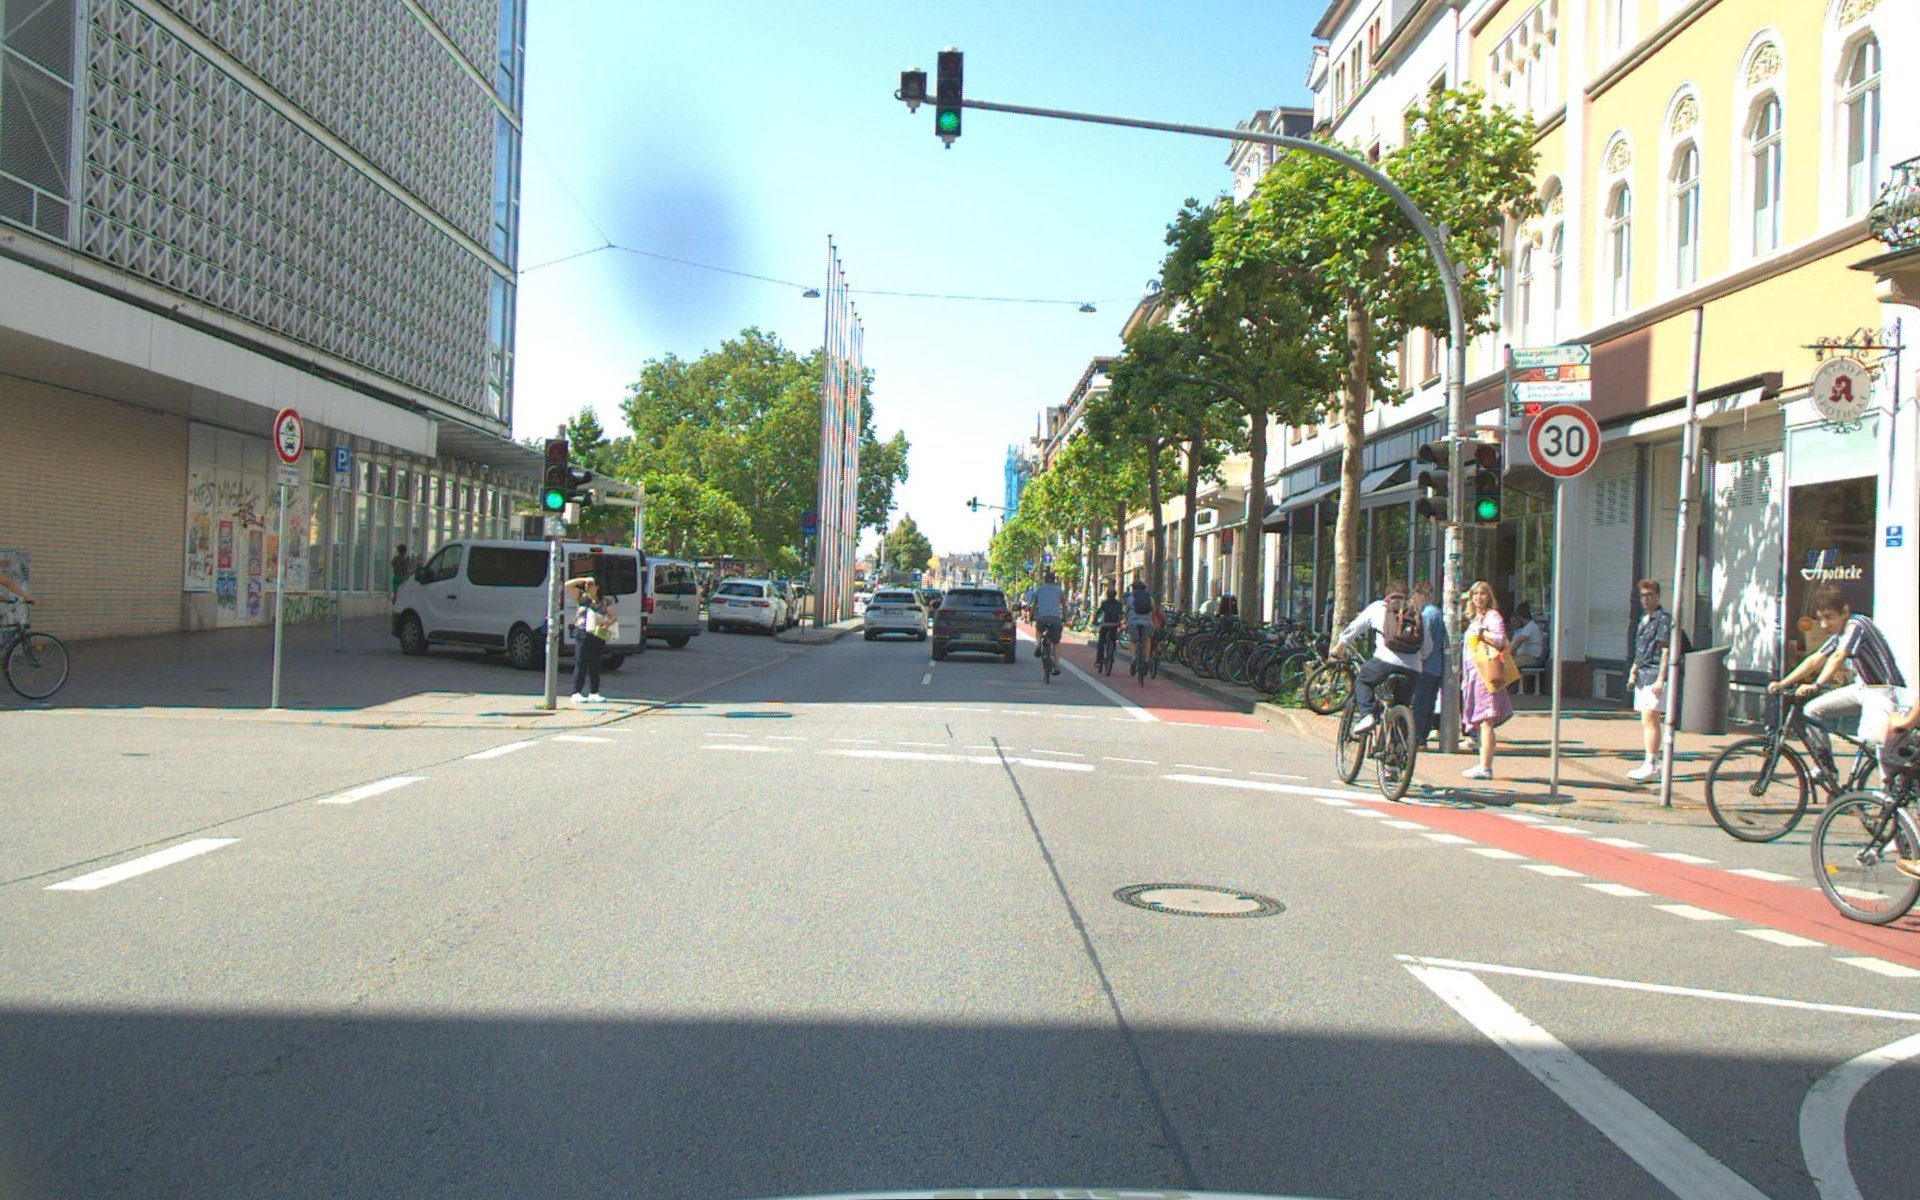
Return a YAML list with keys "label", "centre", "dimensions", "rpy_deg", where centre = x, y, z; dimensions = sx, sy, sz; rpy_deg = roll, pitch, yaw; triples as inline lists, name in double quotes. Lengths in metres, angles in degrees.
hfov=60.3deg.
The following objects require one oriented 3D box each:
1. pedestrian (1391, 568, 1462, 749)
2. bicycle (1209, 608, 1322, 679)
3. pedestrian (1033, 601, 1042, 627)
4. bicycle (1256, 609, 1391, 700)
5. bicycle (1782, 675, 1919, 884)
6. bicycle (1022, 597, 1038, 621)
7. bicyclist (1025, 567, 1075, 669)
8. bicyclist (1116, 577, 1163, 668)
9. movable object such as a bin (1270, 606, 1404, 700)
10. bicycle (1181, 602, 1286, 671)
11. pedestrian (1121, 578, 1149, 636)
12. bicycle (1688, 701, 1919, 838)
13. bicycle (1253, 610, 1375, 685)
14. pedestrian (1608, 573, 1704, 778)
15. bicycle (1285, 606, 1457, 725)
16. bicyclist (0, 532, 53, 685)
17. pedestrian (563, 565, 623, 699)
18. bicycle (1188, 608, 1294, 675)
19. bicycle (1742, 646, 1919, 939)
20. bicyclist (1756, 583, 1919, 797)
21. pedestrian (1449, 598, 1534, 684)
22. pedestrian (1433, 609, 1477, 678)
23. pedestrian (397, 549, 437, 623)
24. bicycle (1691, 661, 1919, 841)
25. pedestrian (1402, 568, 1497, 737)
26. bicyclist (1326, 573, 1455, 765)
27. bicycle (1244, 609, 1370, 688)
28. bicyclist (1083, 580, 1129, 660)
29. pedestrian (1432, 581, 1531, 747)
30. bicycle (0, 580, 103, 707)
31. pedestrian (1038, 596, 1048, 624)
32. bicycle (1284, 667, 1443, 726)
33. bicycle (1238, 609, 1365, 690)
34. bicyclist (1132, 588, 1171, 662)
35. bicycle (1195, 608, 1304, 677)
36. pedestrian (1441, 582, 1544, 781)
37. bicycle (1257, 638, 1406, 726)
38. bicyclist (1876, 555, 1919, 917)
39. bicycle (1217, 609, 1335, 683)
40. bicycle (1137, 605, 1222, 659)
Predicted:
- label: "pedestrian"
  centre: [4.856, 0.596, 17.242]
  dimensions: [0.443, 1.826, 0.607]
  rpy_deg: [3, 0, -3]
- label: "bicycle"
  centre: [5.205, 0.736, 28.272]
  dimensions: [1.802, 1.146, 0.666]
  rpy_deg: [2, -1, 1]
- label: "pedestrian"
  centre: [4.695, 0.869, 100.105]
  dimensions: [0.512, 1.548, 0.642]
  rpy_deg: [1, -1, 3]
- label: "bicycle"
  centre: [5.179, 0.764, 23.568]
  dimensions: [1.801, 1.146, 0.346]
  rpy_deg: [4, 1, 15]
- label: "bicycle"
  centre: [6.289, 1.071, 9.839]
  dimensions: [2.515, 1.146, 0.627]
  rpy_deg: [2, 1, -5]
- label: "bicycle"
  centre: [3.185, 0.396, 75.358]
  dimensions: [0.634, 1.015, 2.030]
  rpy_deg: [2, 0, 0]
- label: "bicyclist"
  centre: [1.511, 0.294, 27.824]
  dimensions: [0.758, 1.664, 0.851]
  rpy_deg: [2, 0, 0]
- label: "bicyclist"
  centre: [3.074, 0.372, 28.353]
  dimensions: [0.617, 1.507, 1.198]
  rpy_deg: [2, 0, -1]
- label: "movable object such as a bin"
  centre: [5.475, 0.748, 24.011]
  dimensions: [1.812, 1.209, 0.653]
  rpy_deg: [4, 0, 15]
- label: "bicycle"
  centre: [5.071, 0.673, 30.760]
  dimensions: [1.802, 1.146, 0.680]
  rpy_deg: [3, 0, 3]
- label: "pedestrian"
  centre: [5.457, 0.209, 51.558]
  dimensions: [0.626, 1.718, 0.843]
  rpy_deg: [4, 1, -3]
- label: "bicycle"
  centre: [6.066, 1.173, 11.492]
  dimensions: [1.784, 0.859, 0.501]
  rpy_deg: [1, 0, 0]
- label: "bicycle"
  centre: [5.683, 0.757, 26.622]
  dimensions: [1.802, 1.146, 0.666]
  rpy_deg: [2, -1, 1]
- label: "pedestrian"
  centre: [6.616, 0.706, 15.746]
  dimensions: [0.625, 1.875, 0.615]
  rpy_deg: [3, 0, 11]
- label: "bicycle"
  centre: [4.959, 0.766, 20.034]
  dimensions: [1.822, 1.209, 0.713]
  rpy_deg: [6, 4, 38]
- label: "bicyclist"
  centre: [-10.122, 0.074, 17.114]
  dimensions: [0.720, 1.566, 1.075]
  rpy_deg: [1, 1, 30]
- label: "pedestrian"
  centre: [-4.505, 0.379, 20.337]
  dimensions: [0.628, 1.586, 0.679]
  rpy_deg: [3, 0, -12]
- label: "bicycle"
  centre: [5.051, 0.748, 29.777]
  dimensions: [1.802, 1.146, 0.530]
  rpy_deg: [2, -1, 1]
- label: "bicycle"
  centre: [4.851, 0.952, 7.854]
  dimensions: [0.720, 1.290, 2.274]
  rpy_deg: [2, 2, -15]
- label: "bicyclist"
  centre: [6.088, 0.609, 11.497]
  dimensions: [0.841, 1.436, 0.501]
  rpy_deg: [1, 0, 0]
- label: "pedestrian"
  centre: [9.232, 0.707, 28.757]
  dimensions: [1.208, 1.447, 0.789]
  rpy_deg: [1, -1, -3]
- label: "pedestrian"
  centre: [9.260, 0.804, 30.937]
  dimensions: [0.626, 1.275, 0.608]
  rpy_deg: [0, -1, -3]
- label: "pedestrian"
  centre: [-11.832, -0.312, 36.032]
  dimensions: [0.665, 1.586, 0.640]
  rpy_deg: [1, 0, -5]
- label: "bicycle"
  centre: [6.105, 1.032, 11.408]
  dimensions: [1.801, 1.146, 0.667]
  rpy_deg: [2, -1, 4]
- label: "pedestrian"
  centre: [5.473, 0.574, 18.517]
  dimensions: [0.771, 1.826, 0.641]
  rpy_deg: [3, 0, -3]
- label: "bicyclist"
  centre: [3.497, 0.541, 13.499]
  dimensions: [0.684, 1.471, 0.960]
  rpy_deg: [3, 0, -4]
- label: "bicycle"
  centre: [5.367, 0.747, 25.650]
  dimensions: [1.802, 1.146, 0.666]
  rpy_deg: [2, -1, 1]
- label: "bicyclist"
  centre: [2.776, 0.383, 31.554]
  dimensions: [0.684, 1.465, 0.790]
  rpy_deg: [3, 0, -4]
- label: "pedestrian"
  centre: [5.586, 0.670, 17.751]
  dimensions: [0.771, 1.720, 0.641]
  rpy_deg: [2, 0, -3]
- label: "bicycle"
  centre: [-10.131, 0.443, 17.111]
  dimensions: [0.720, 1.289, 2.207]
  rpy_deg: [2, 1, 30]
- label: "pedestrian"
  centre: [4.898, 0.611, 97.737]
  dimensions: [0.537, 1.659, 0.589]
  rpy_deg: [1, -1, 3]
- label: "bicycle"
  centre: [5.330, 1.286, 21.967]
  dimensions: [1.123, 0.441, 1.842]
  rpy_deg: [-9, -4, -26]
- label: "bicycle"
  centre: [5.116, 0.740, 24.874]
  dimensions: [1.801, 1.146, 0.667]
  rpy_deg: [2, -1, 7]
- label: "bicyclist"
  centre: [3.647, 0.475, 31.609]
  dimensions: [0.588, 1.381, 0.720]
  rpy_deg: [-1, -1, -4]
- label: "bicycle"
  centre: [5.079, 0.748, 29.083]
  dimensions: [1.802, 1.146, 0.666]
  rpy_deg: [2, -1, 1]
- label: "pedestrian"
  centre: [4.806, 0.727, 14.965]
  dimensions: [0.626, 1.739, 0.789]
  rpy_deg: [1, -2, -3]
- label: "bicycle"
  centre: [5.103, 1.133, 22.766]
  dimensions: [1.814, 0.401, 1.024]
  rpy_deg: [10, -35, 4]
- label: "bicyclist"
  centre: [4.900, 0.647, 7.757]
  dimensions: [0.718, 1.702, 0.771]
  rpy_deg: [1, 0, -14]
- label: "bicycle"
  centre: [5.189, 0.748, 27.225]
  dimensions: [1.802, 1.146, 0.643]
  rpy_deg: [2, -1, 1]
- label: "bicycle"
  centre: [5.017, 0.721, 37.856]
  dimensions: [1.802, 1.112, 0.564]
  rpy_deg: [3, 0, 0]
